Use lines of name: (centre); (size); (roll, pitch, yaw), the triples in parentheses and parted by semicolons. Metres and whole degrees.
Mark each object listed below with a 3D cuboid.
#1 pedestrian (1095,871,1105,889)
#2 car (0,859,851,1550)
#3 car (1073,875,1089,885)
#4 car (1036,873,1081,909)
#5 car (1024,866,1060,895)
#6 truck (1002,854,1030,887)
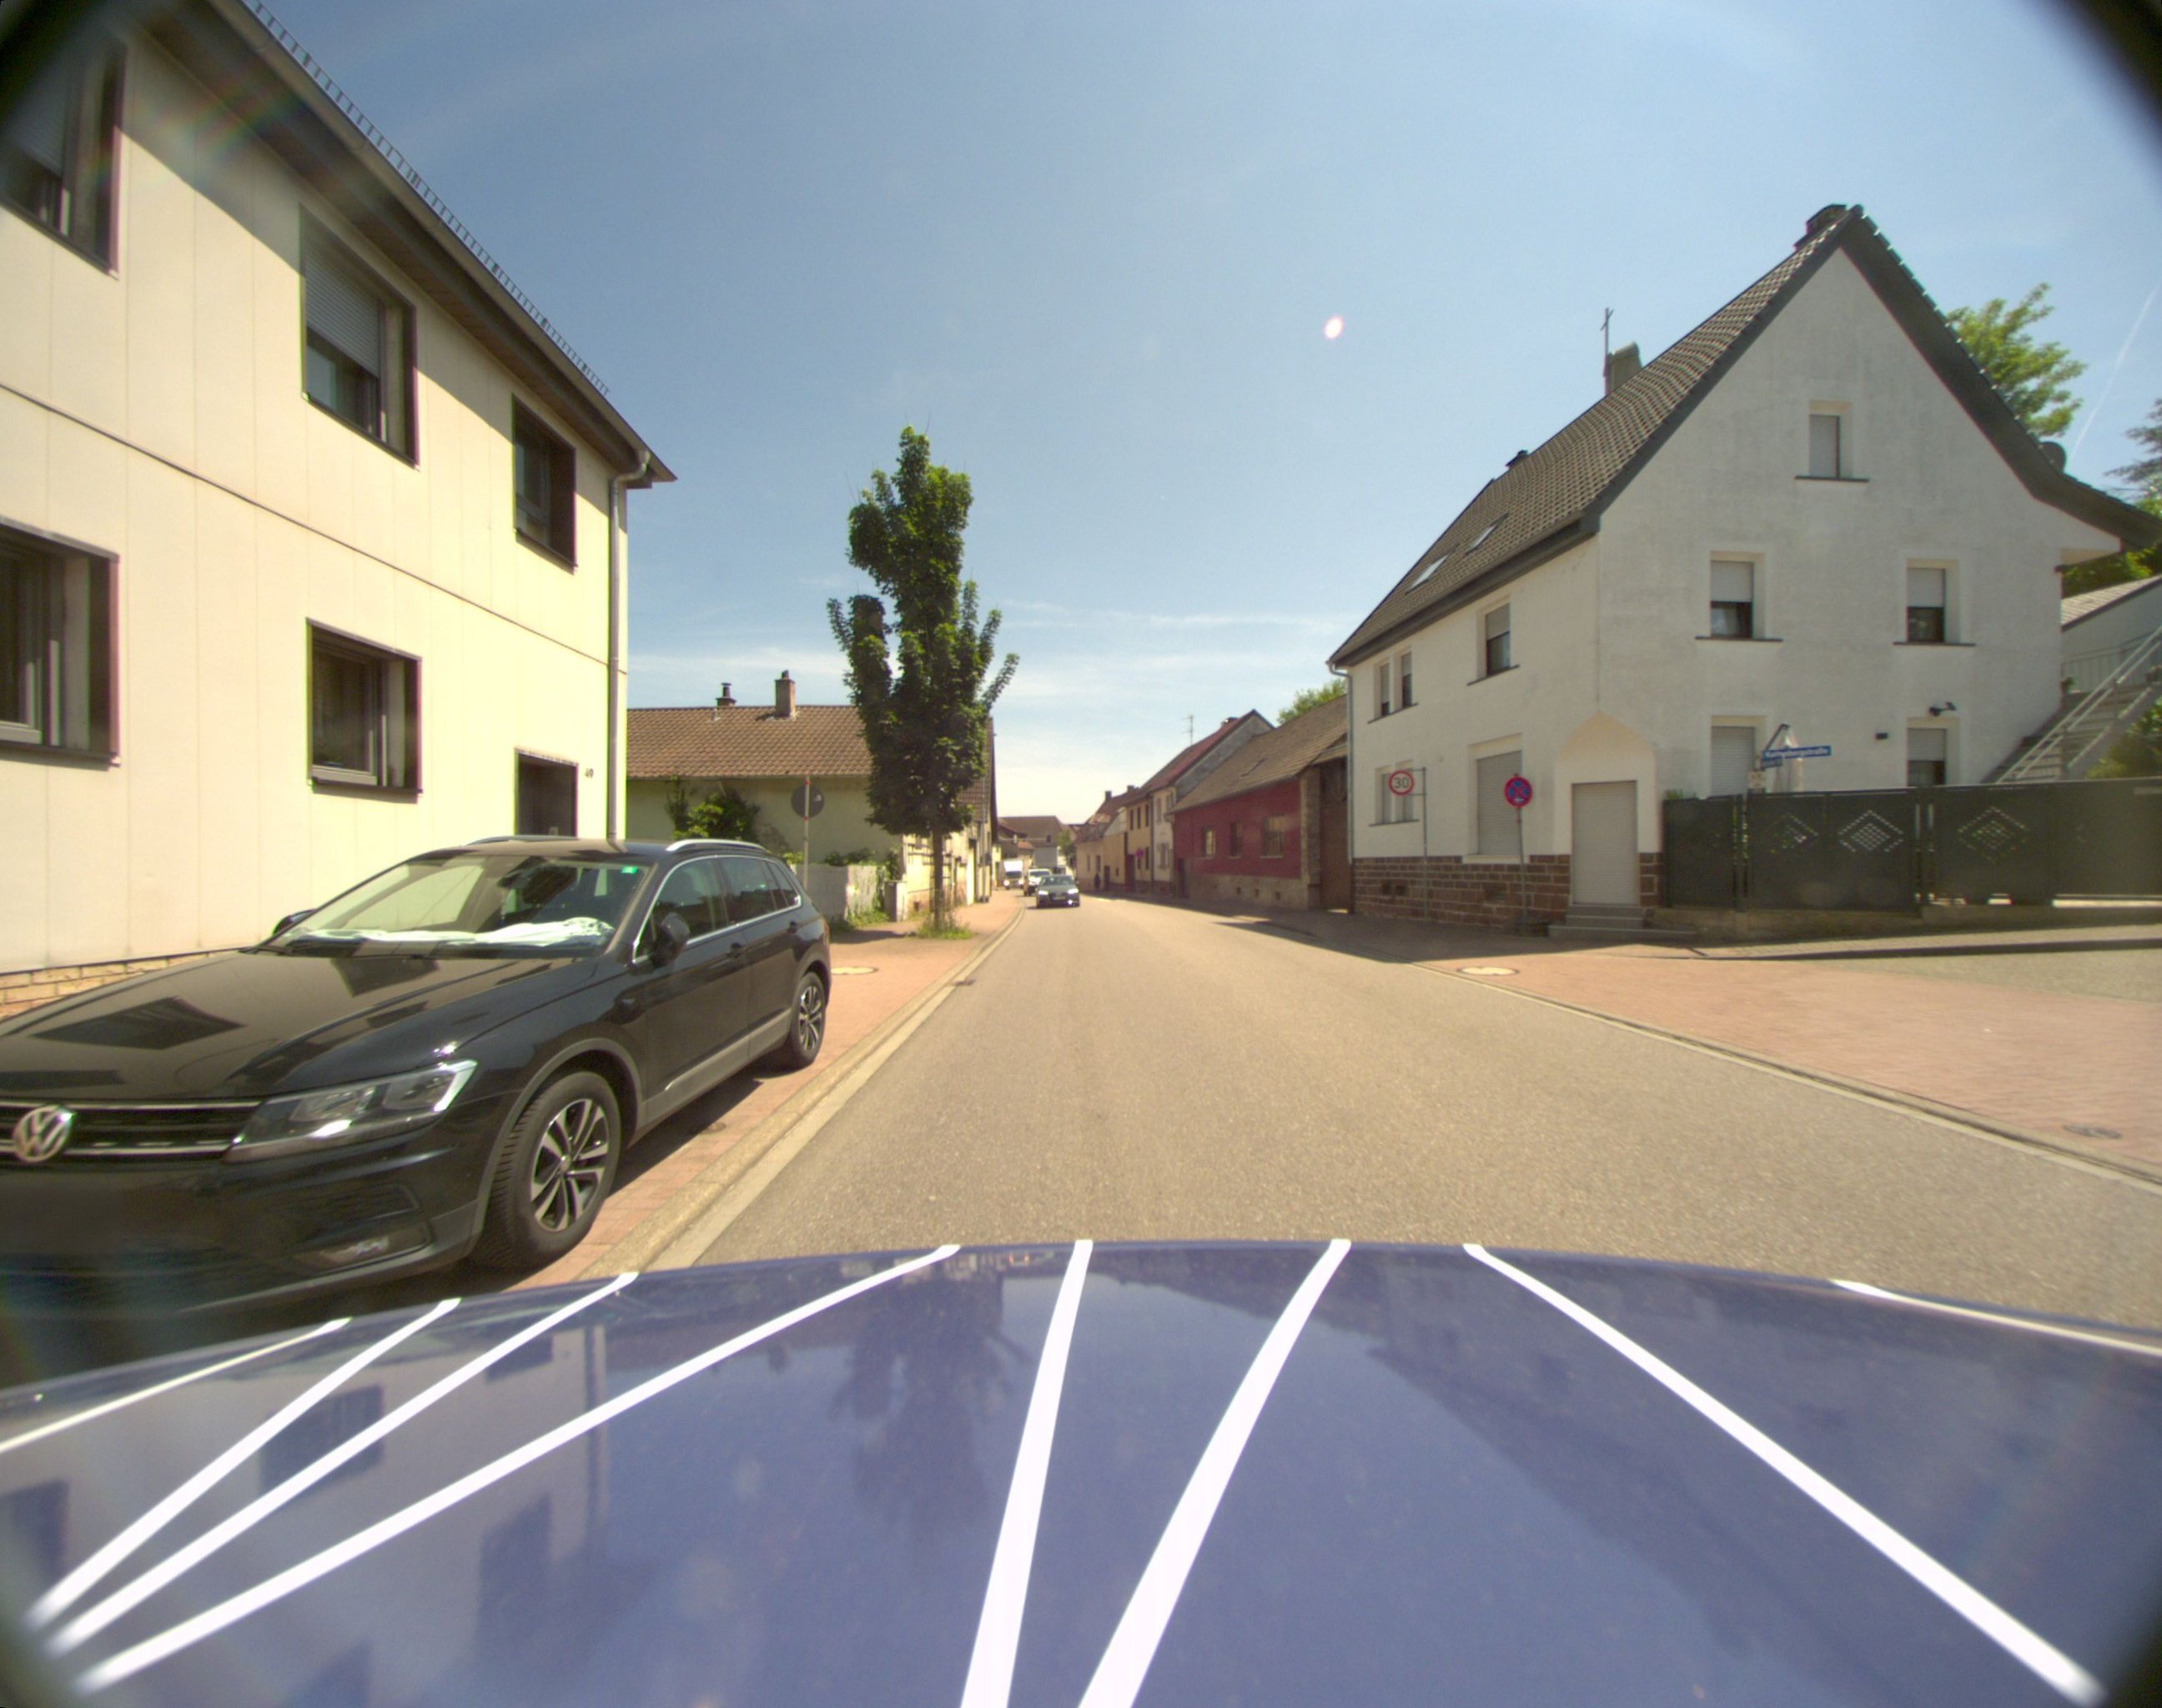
pedestrian: (1.587, 2.176, 63.720); (0.664, 1.555, 0.754); (-2, 0, -7)
car: (-2.808, 0.860, 4.061); (1.807, 1.604, 4.548); (1, -1, -1)
car: (-0.038, 4.183, 123.507); (1.832, 1.611, 4.265); (-1, -1, 11)
car: (-0.933, 1.536, 32.560); (1.786, 1.364, 3.606); (-1, 0, -1)
car: (-2.903, 1.862, 55.447); (2.080, 1.949, 5.515); (-1, 0, -8)
truck: (-7.386, 1.817, 87.014); (2.868, 3.491, 8.317); (0, 0, -3)
